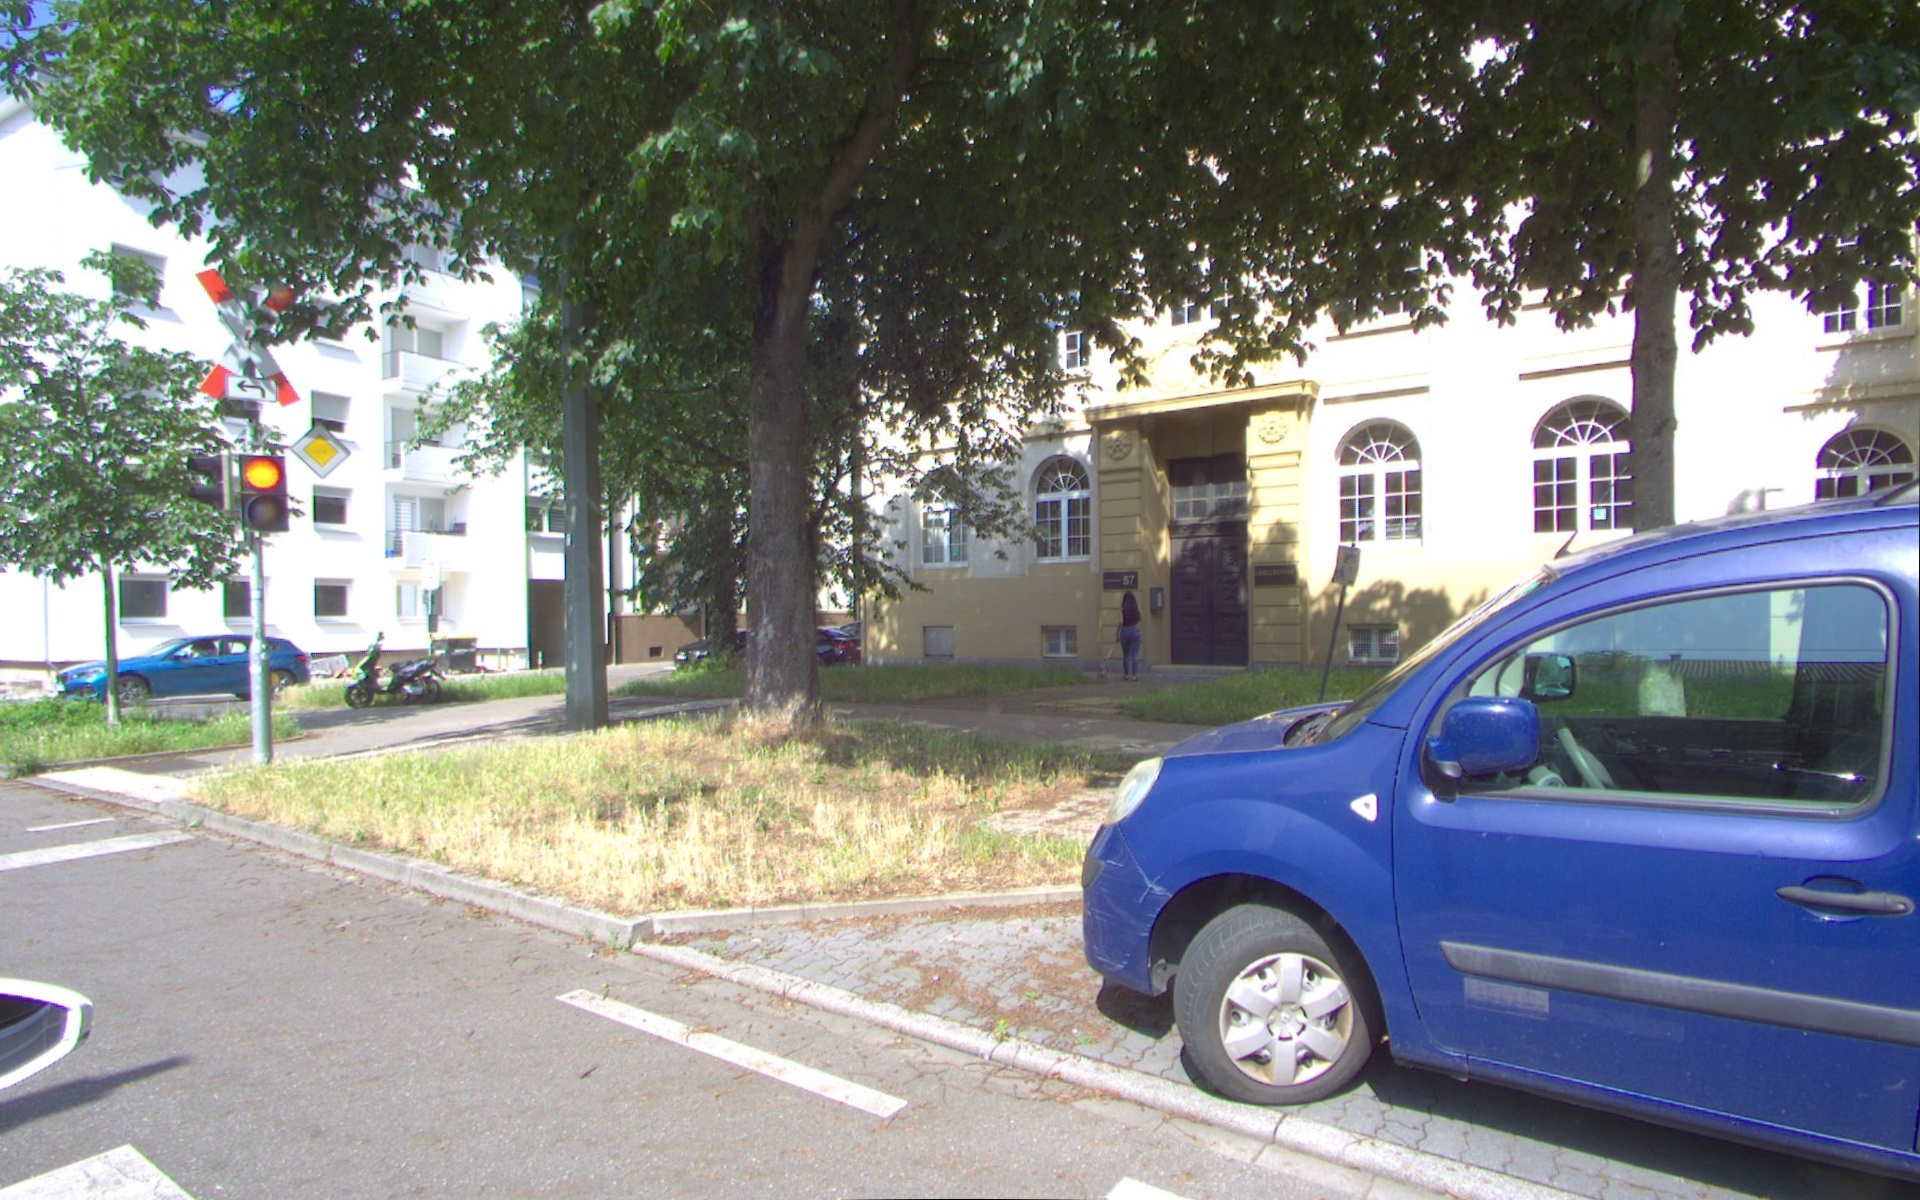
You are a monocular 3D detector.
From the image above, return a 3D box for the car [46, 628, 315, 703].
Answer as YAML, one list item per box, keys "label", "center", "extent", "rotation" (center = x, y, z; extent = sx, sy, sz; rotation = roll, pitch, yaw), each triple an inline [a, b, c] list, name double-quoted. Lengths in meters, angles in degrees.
- label: "car"
  center: [-16.382, 1.348, 21.267]
  extent: [1.755, 1.430, 4.160]
  rotation: [-1, -3, 32]

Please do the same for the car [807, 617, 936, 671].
- label: "car"
  center: [-2.813, 1.326, 31.333]
  extent: [3.955, 1.560, 1.797]
  rotation: [-1, -1, 42]

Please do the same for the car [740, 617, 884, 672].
- label: "car"
  center: [-4.289, 1.258, 28.939]
  extent: [3.942, 1.478, 1.736]
  rotation: [-1, 0, 32]

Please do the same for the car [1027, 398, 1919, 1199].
- label: "car"
  center: [2.421, 0.537, 2.838]
  extent: [4.128, 1.921, 1.816]
  rotation: [0, 1, 36]

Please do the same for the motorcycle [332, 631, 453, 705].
- label: "motorcycle"
  center: [-10.384, 1.241, 18.357]
  extent: [1.811, 1.233, 0.571]
  rotation: [-2, 4, 0]

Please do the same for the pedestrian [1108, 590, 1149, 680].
- label: "pedestrian"
  center: [3.103, 0.644, 18.397]
  extent: [0.532, 1.617, 0.630]
  rotation: [-1, 0, 31]
